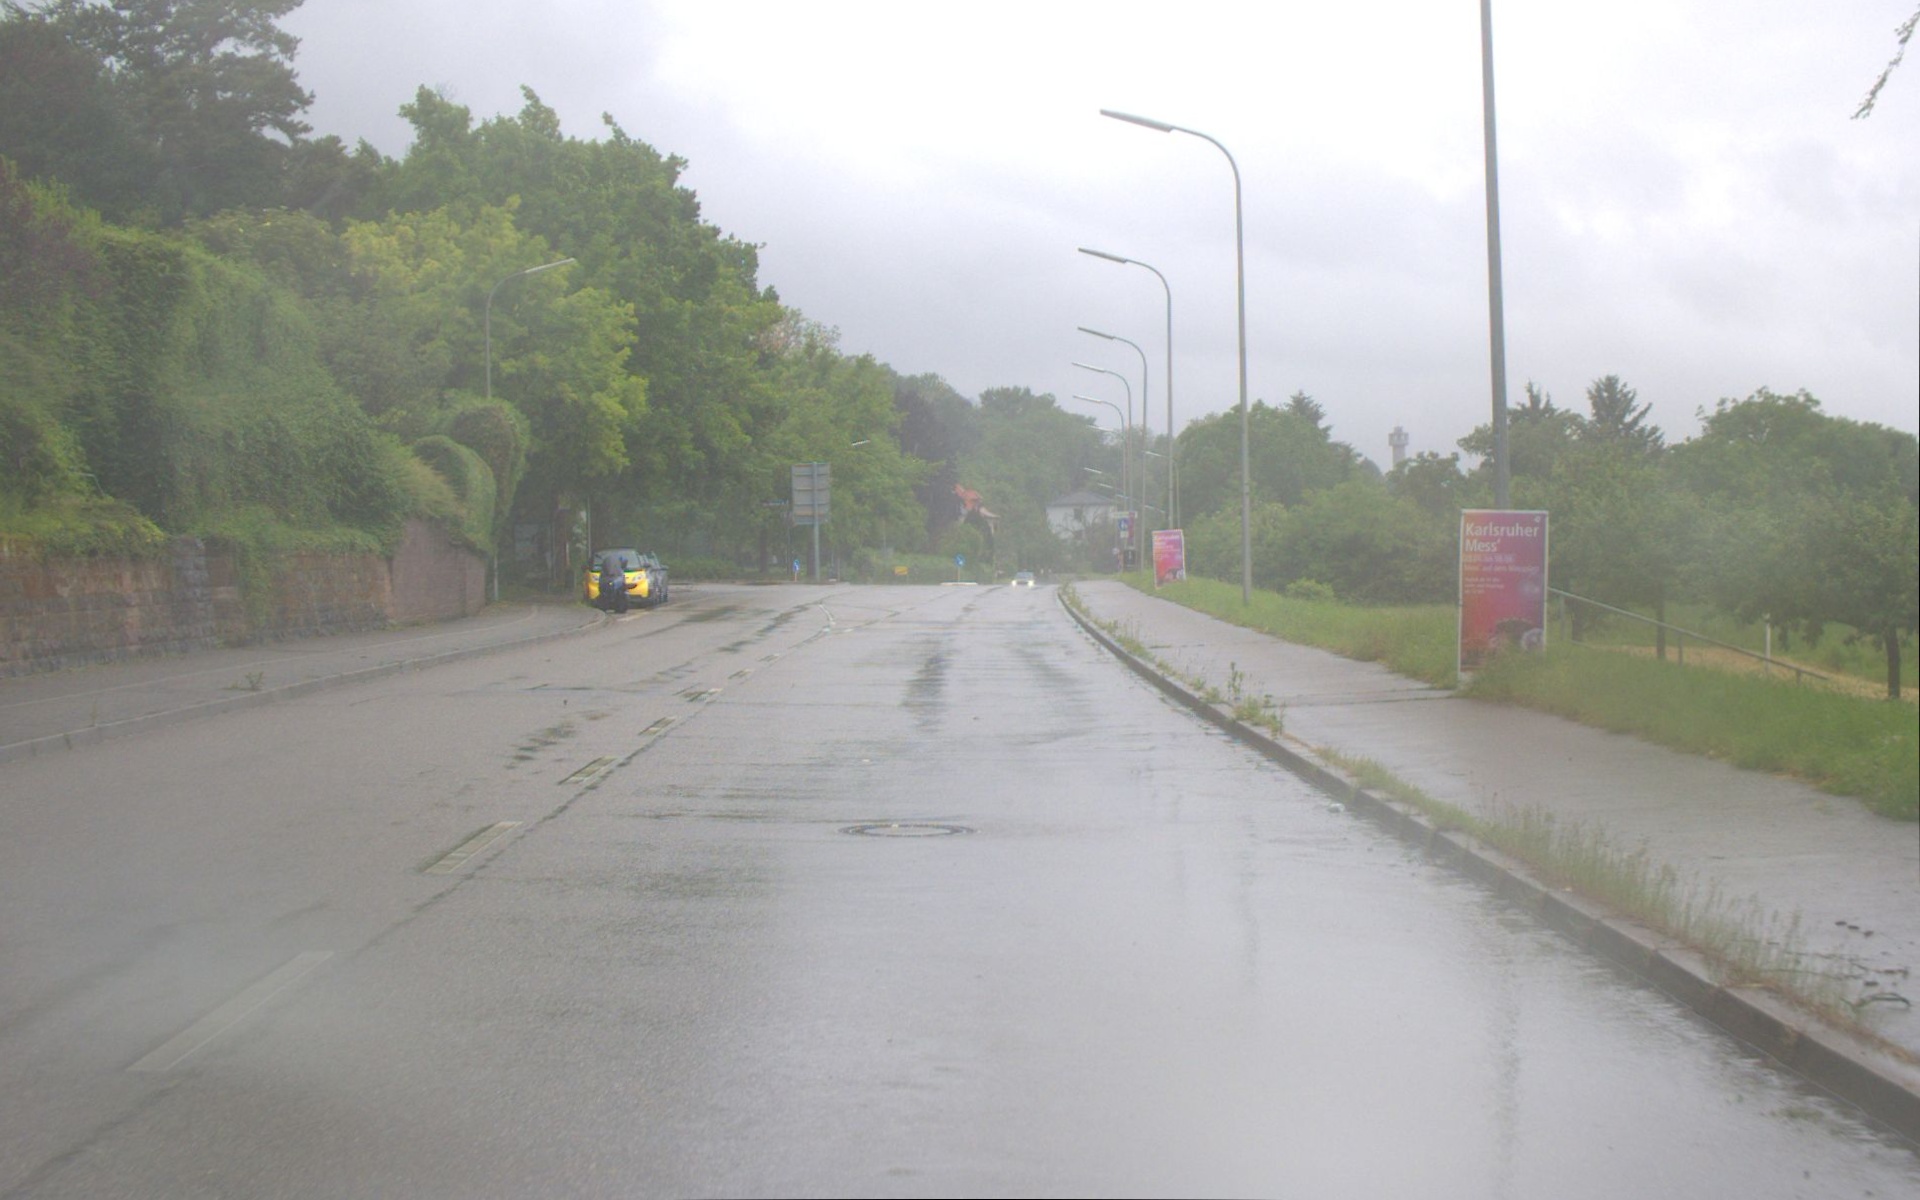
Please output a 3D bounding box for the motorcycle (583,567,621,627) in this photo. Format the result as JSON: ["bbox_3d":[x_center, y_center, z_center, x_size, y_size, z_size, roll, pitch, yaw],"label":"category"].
[{"bbox_3d":[-8.293,-0.079,79.708,0.837,1.336,2.500,-2,1,-6],"label":"motorcycle"}]

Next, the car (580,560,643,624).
[{"bbox_3d":[-8.747,-0.219,86.237,1.433,1.532,2.820,-2,1,-8],"label":"car"}]
